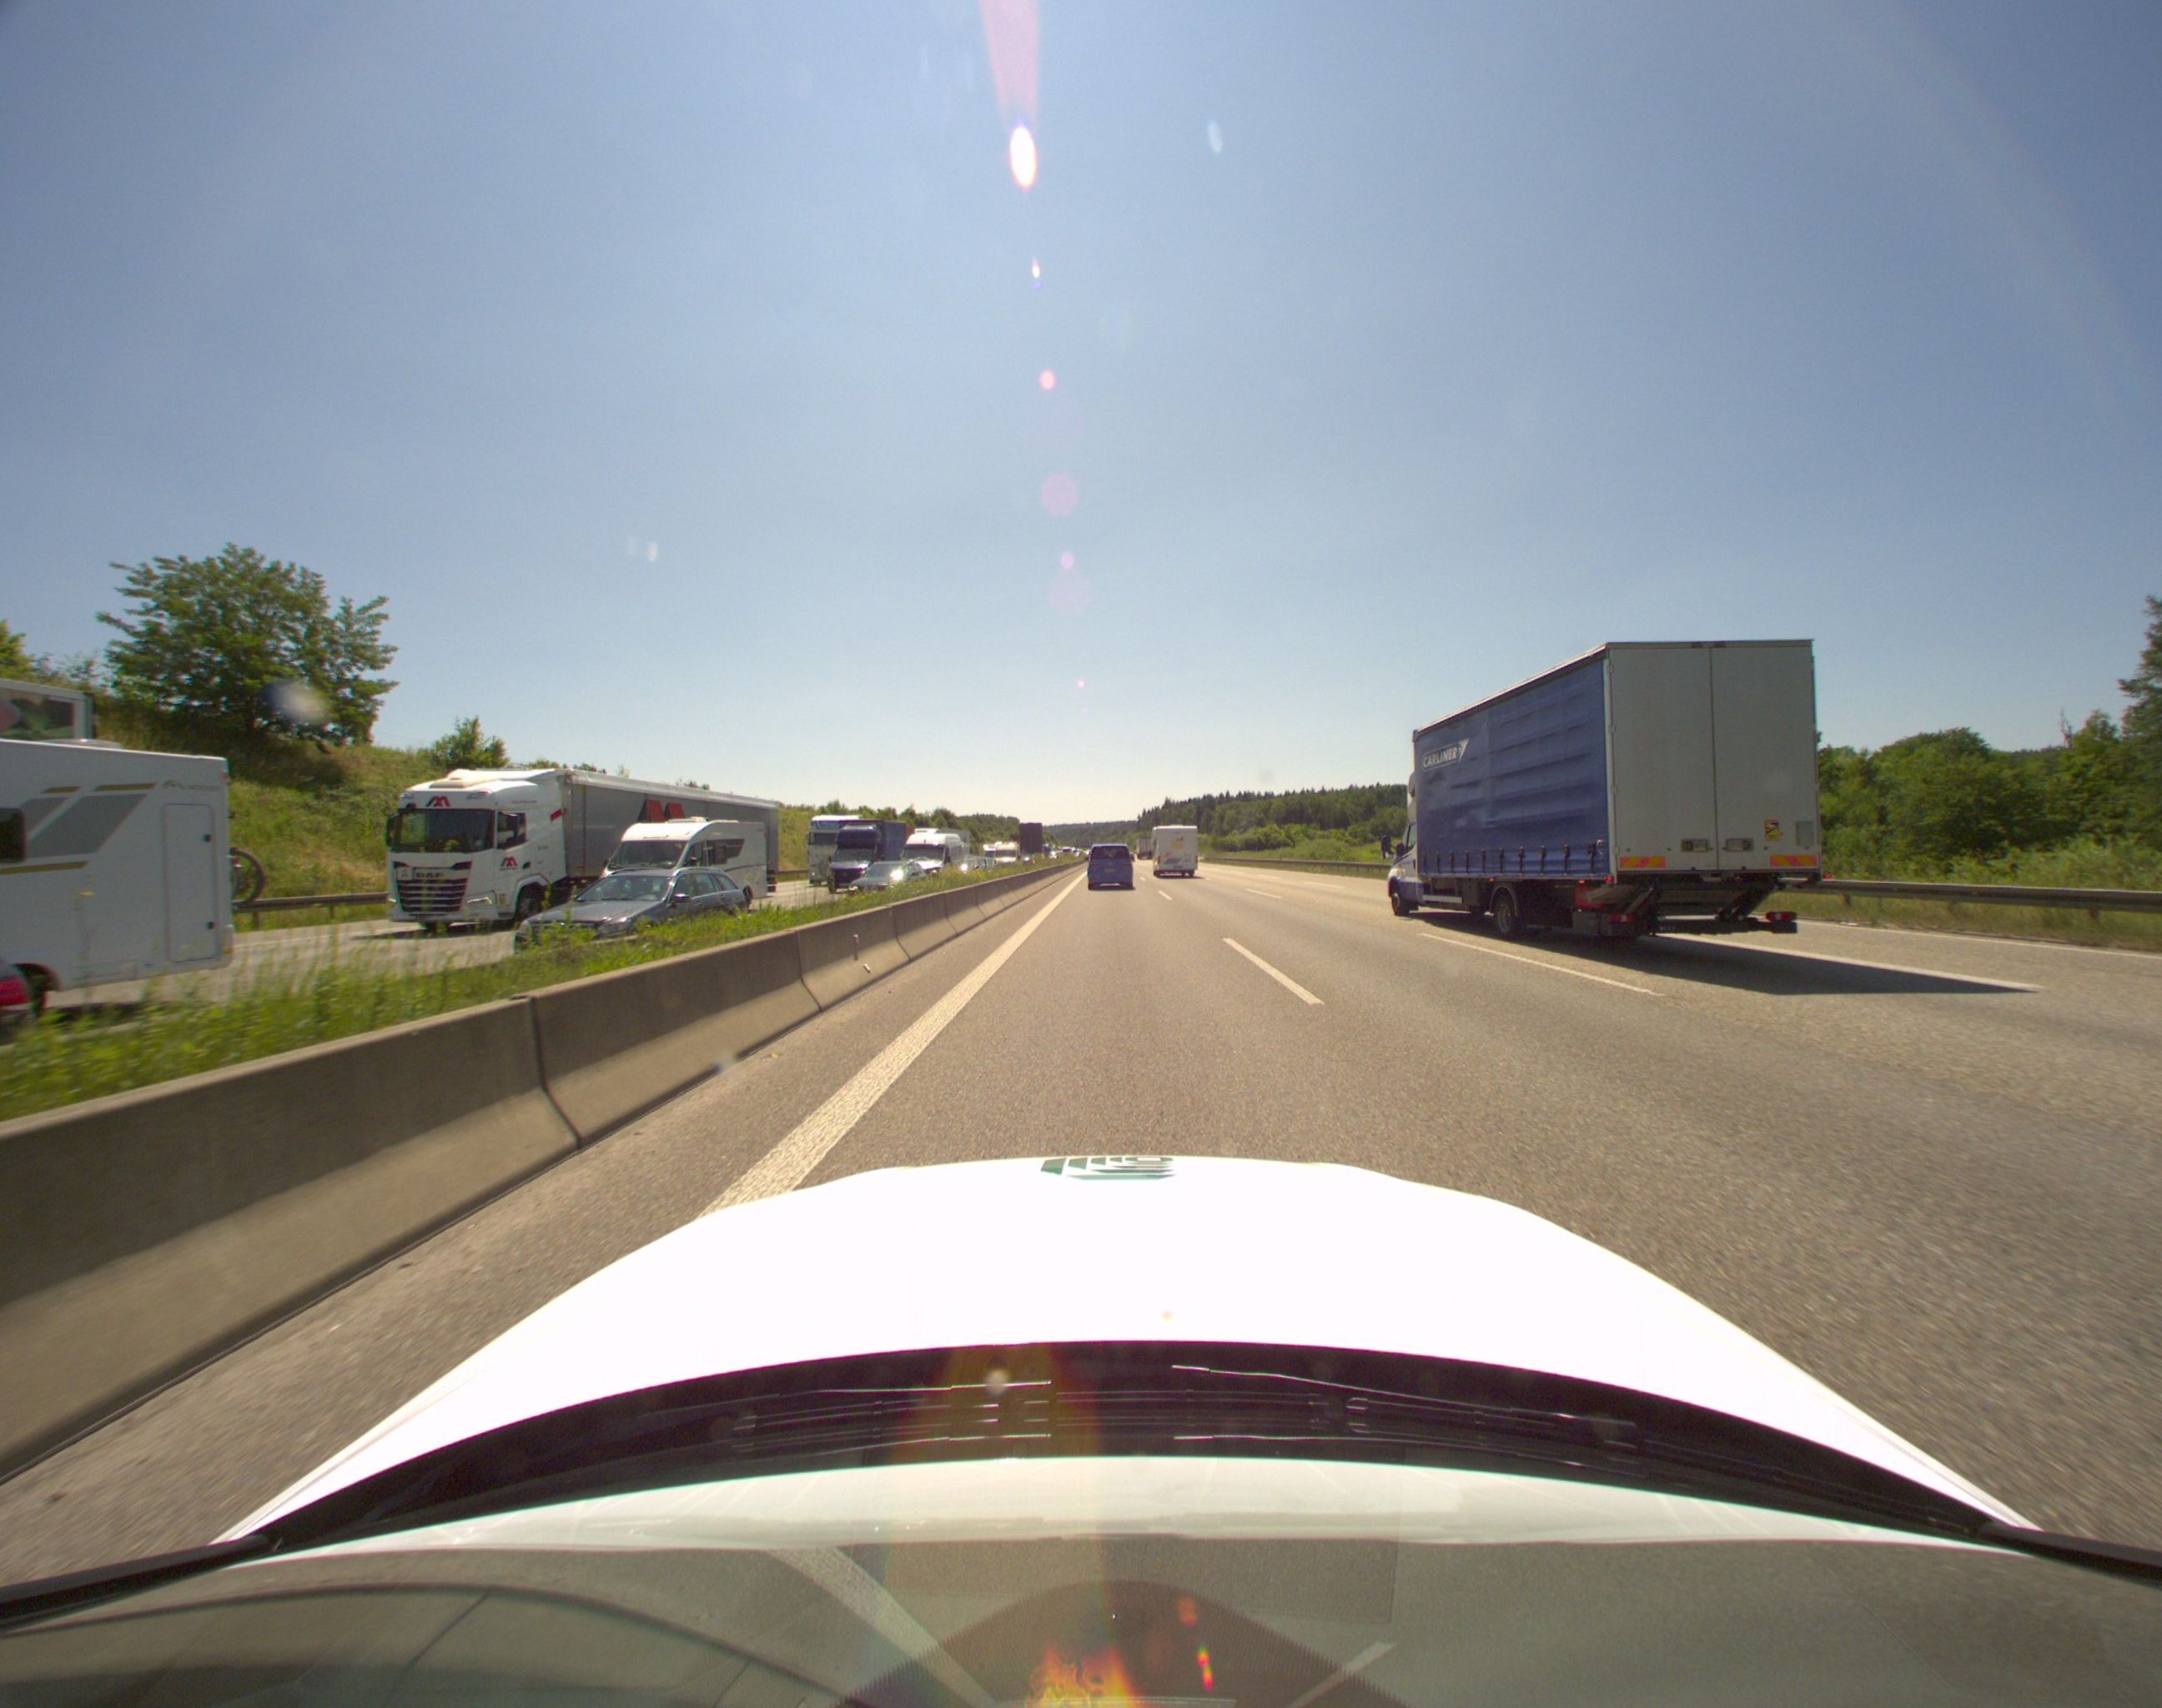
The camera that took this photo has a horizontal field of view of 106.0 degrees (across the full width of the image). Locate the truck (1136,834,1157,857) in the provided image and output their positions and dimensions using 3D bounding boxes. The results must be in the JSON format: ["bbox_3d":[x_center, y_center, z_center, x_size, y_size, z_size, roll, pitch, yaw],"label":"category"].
[{"bbox_3d":[12.219,-1.557,153.143,3.474,4.170,8.645,-1,0,2],"label":"truck"}]

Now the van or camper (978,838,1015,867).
[{"bbox_3d":[-9.006,-0.141,87.587,2.534,2.937,7.834,-2,0,3],"label":"van or camper"}]

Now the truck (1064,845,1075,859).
[{"bbox_3d":[-3.191,-0.461,229.819,2.608,3.890,7.405,-3,0,2],"label":"truck"}]

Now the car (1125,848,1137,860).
[{"bbox_3d":[7.977,0.011,131.158,1.811,1.794,3.896,-1,0,2],"label":"car"}]

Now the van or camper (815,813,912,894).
[{"bbox_3d":[-10.058,0.012,38.503,2.304,3.390,7.682,-2,0,1],"label":"van or camper"}]

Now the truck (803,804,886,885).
[{"bbox_3d":[-13.708,-0.498,47.795,2.580,4.325,7.294,-1,0,1],"label":"truck"}]

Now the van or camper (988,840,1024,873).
[{"bbox_3d":[-5.991,0.225,65.731,2.185,2.506,6.060,-2,0,1],"label":"van or camper"}]

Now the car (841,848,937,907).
[{"bbox_3d":[-6.094,0.694,26.493,1.805,1.730,4.937,-1,0,2],"label":"car"}]

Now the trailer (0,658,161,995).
[{"bbox_3d":[-15.081,-0.349,6.573,2.779,4.240,10.797,-1,0,2],"label":"trailer"}]

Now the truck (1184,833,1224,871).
[{"bbox_3d":[12.279,-0.259,82.108,2.916,3.574,8.531,-2,1,2],"label":"truck"}]

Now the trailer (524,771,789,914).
[{"bbox_3d":[-14.254,-0.292,29.261,2.770,4.034,12.256,-1,0,2],"label":"trailer"}]

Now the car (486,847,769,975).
[{"bbox_3d":[-7.142,0.790,13.605,1.805,1.730,4.975,-1,0,2],"label":"car"}]

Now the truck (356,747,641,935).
[{"bbox_3d":[-14.519,-0.283,21.050,2.790,4.127,6.144,-1,0,2],"label":"truck"}]

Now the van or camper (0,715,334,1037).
[{"bbox_3d":[-11.326,0.208,6.614,2.831,2.948,8.116,-1,0,2],"label":"van or camper"}]

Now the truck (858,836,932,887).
[{"bbox_3d":[-9.934,0.378,44.270,2.226,2.505,6.864,-2,0,1],"label":"truck"}]

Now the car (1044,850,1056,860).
[{"bbox_3d":[-6.367,0.236,167.726,2.016,1.958,5.096,-2,0,2],"label":"car"}]

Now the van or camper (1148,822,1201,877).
[{"bbox_3d":[5.596,-0.364,49.571,2.593,3.078,7.186,0,2,2],"label":"van or camper"}]

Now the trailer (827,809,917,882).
[{"bbox_3d":[-13.559,-0.490,54.142,2.602,4.310,12.004,-1,0,1],"label":"trailer"}]

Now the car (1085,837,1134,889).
[{"bbox_3d":[1.219,0.351,34.892,1.902,2.013,4.001,-2,0,1],"label":"car"}]

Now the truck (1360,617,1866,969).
[{"bbox_3d":[7.934,-0.705,14.482,2.773,4.128,9.741,-1,0,1],"label":"truck"}]

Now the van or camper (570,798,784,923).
[{"bbox_3d":[-10.774,0.166,22.665,2.143,2.923,7.227,-1,0,2],"label":"van or camper"}]

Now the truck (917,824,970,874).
[{"bbox_3d":[-12.754,-0.431,76.652,2.511,4.325,12.427,-1,0,2],"label":"truck"}]

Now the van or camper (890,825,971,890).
[{"bbox_3d":[-6.519,0.159,36.156,2.185,2.541,6.418,-2,0,1],"label":"van or camper"}]

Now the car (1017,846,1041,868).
[{"bbox_3d":[-5.045,0.295,79.308,1.986,2.013,4.002,-1,0,2],"label":"car"}]

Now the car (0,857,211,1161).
[{"bbox_3d":[-7.393,0.923,3.230,1.805,1.809,5.545,-1,0,2],"label":"car"}]

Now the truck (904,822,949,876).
[{"bbox_3d":[-13.032,-0.413,68.985,2.510,4.325,5.669,-1,0,2],"label":"truck"}]
